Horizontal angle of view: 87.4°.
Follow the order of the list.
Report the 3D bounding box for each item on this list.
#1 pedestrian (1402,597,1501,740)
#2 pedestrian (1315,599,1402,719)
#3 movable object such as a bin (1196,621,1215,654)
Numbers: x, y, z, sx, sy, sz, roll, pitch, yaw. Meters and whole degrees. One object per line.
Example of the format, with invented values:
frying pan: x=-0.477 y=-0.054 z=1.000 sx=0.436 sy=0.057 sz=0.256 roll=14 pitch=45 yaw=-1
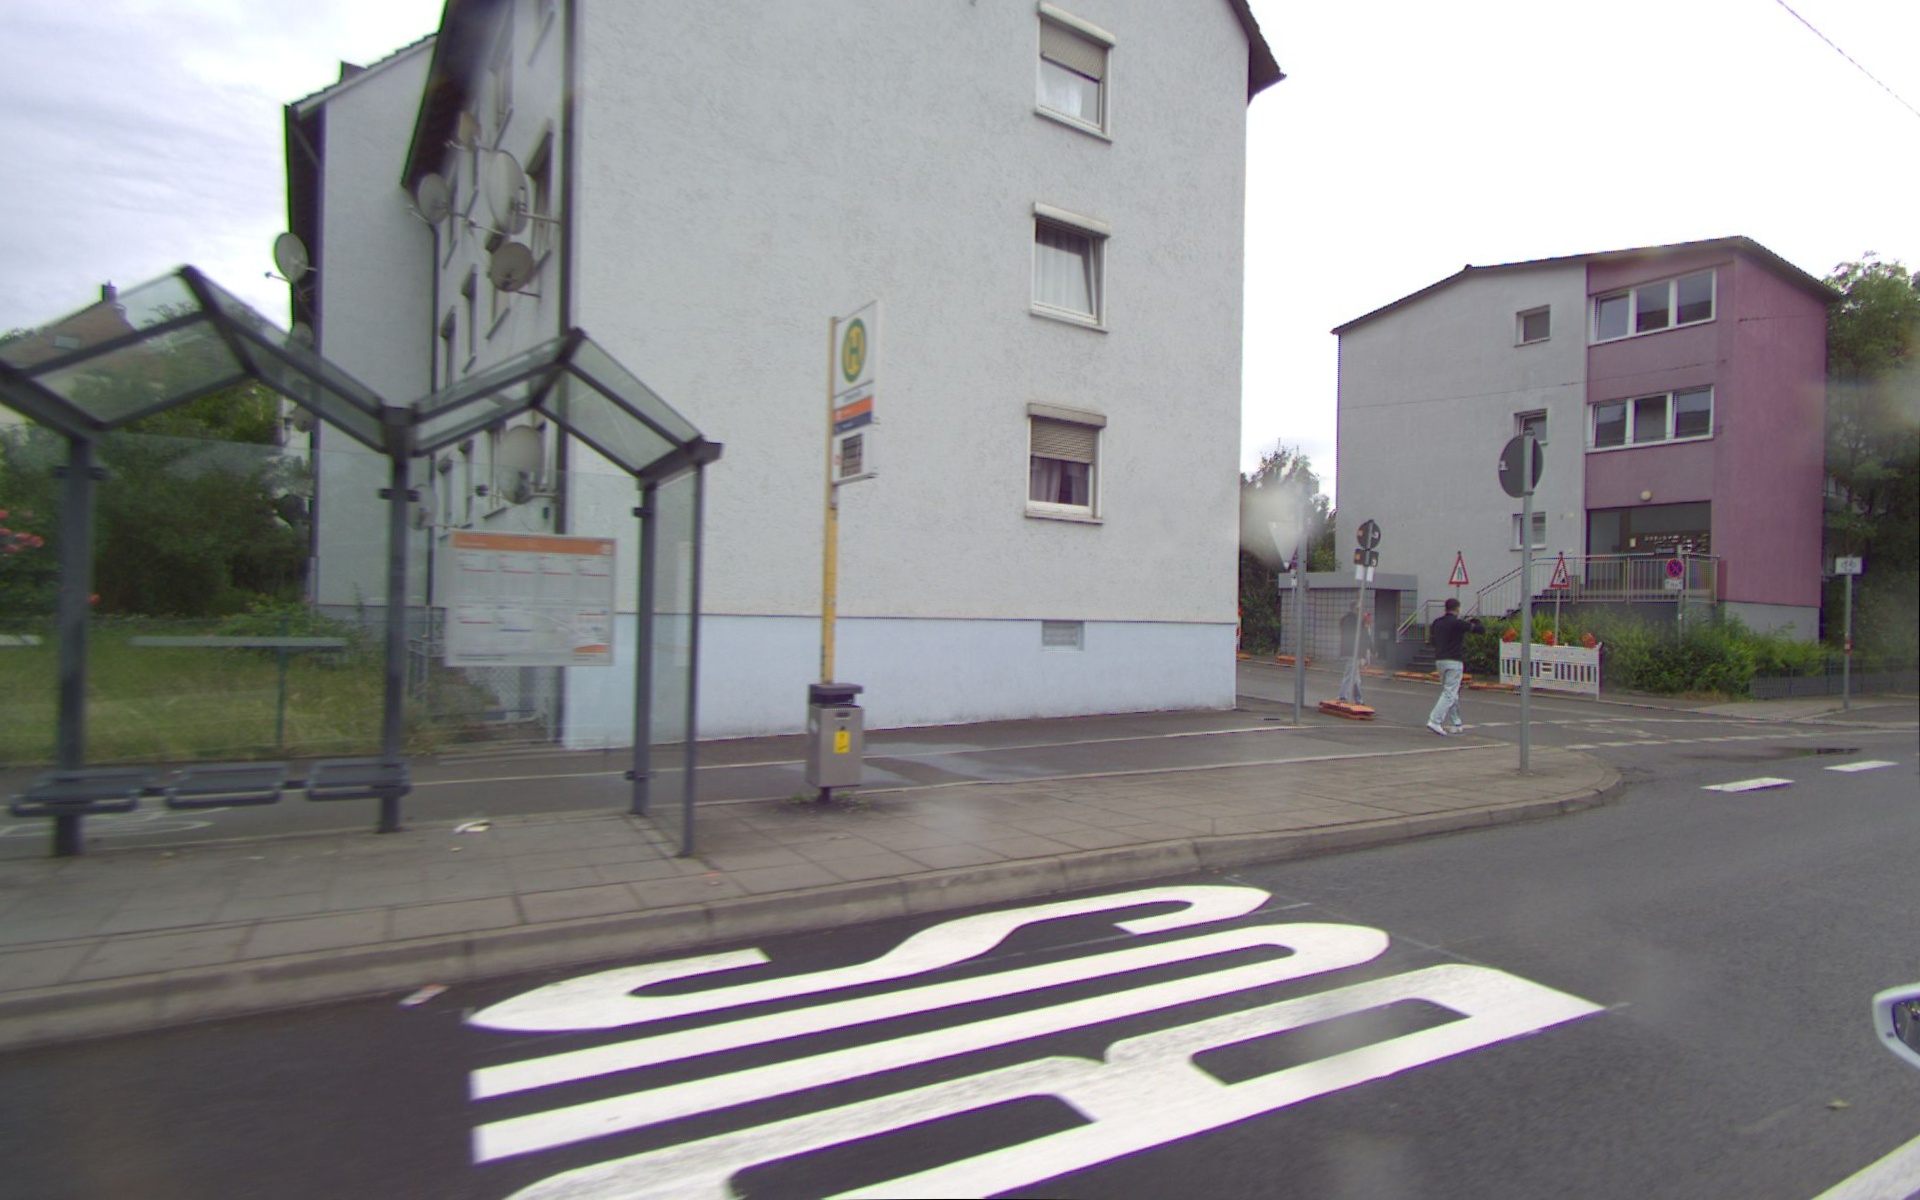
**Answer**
pedestrian: x=6.872 y=0.918 z=14.049 sx=1.033 sy=1.907 sz=0.856 roll=1 pitch=-1 yaw=-35
pedestrian: x=6.443 y=0.919 z=16.247 sx=1.104 sy=1.846 sz=0.801 roll=0 pitch=1 yaw=-34
movable object such as a bin: x=7.329 y=1.117 z=29.997 sx=0.429 sy=0.992 sz=0.325 roll=1 pitch=0 yaw=-38
